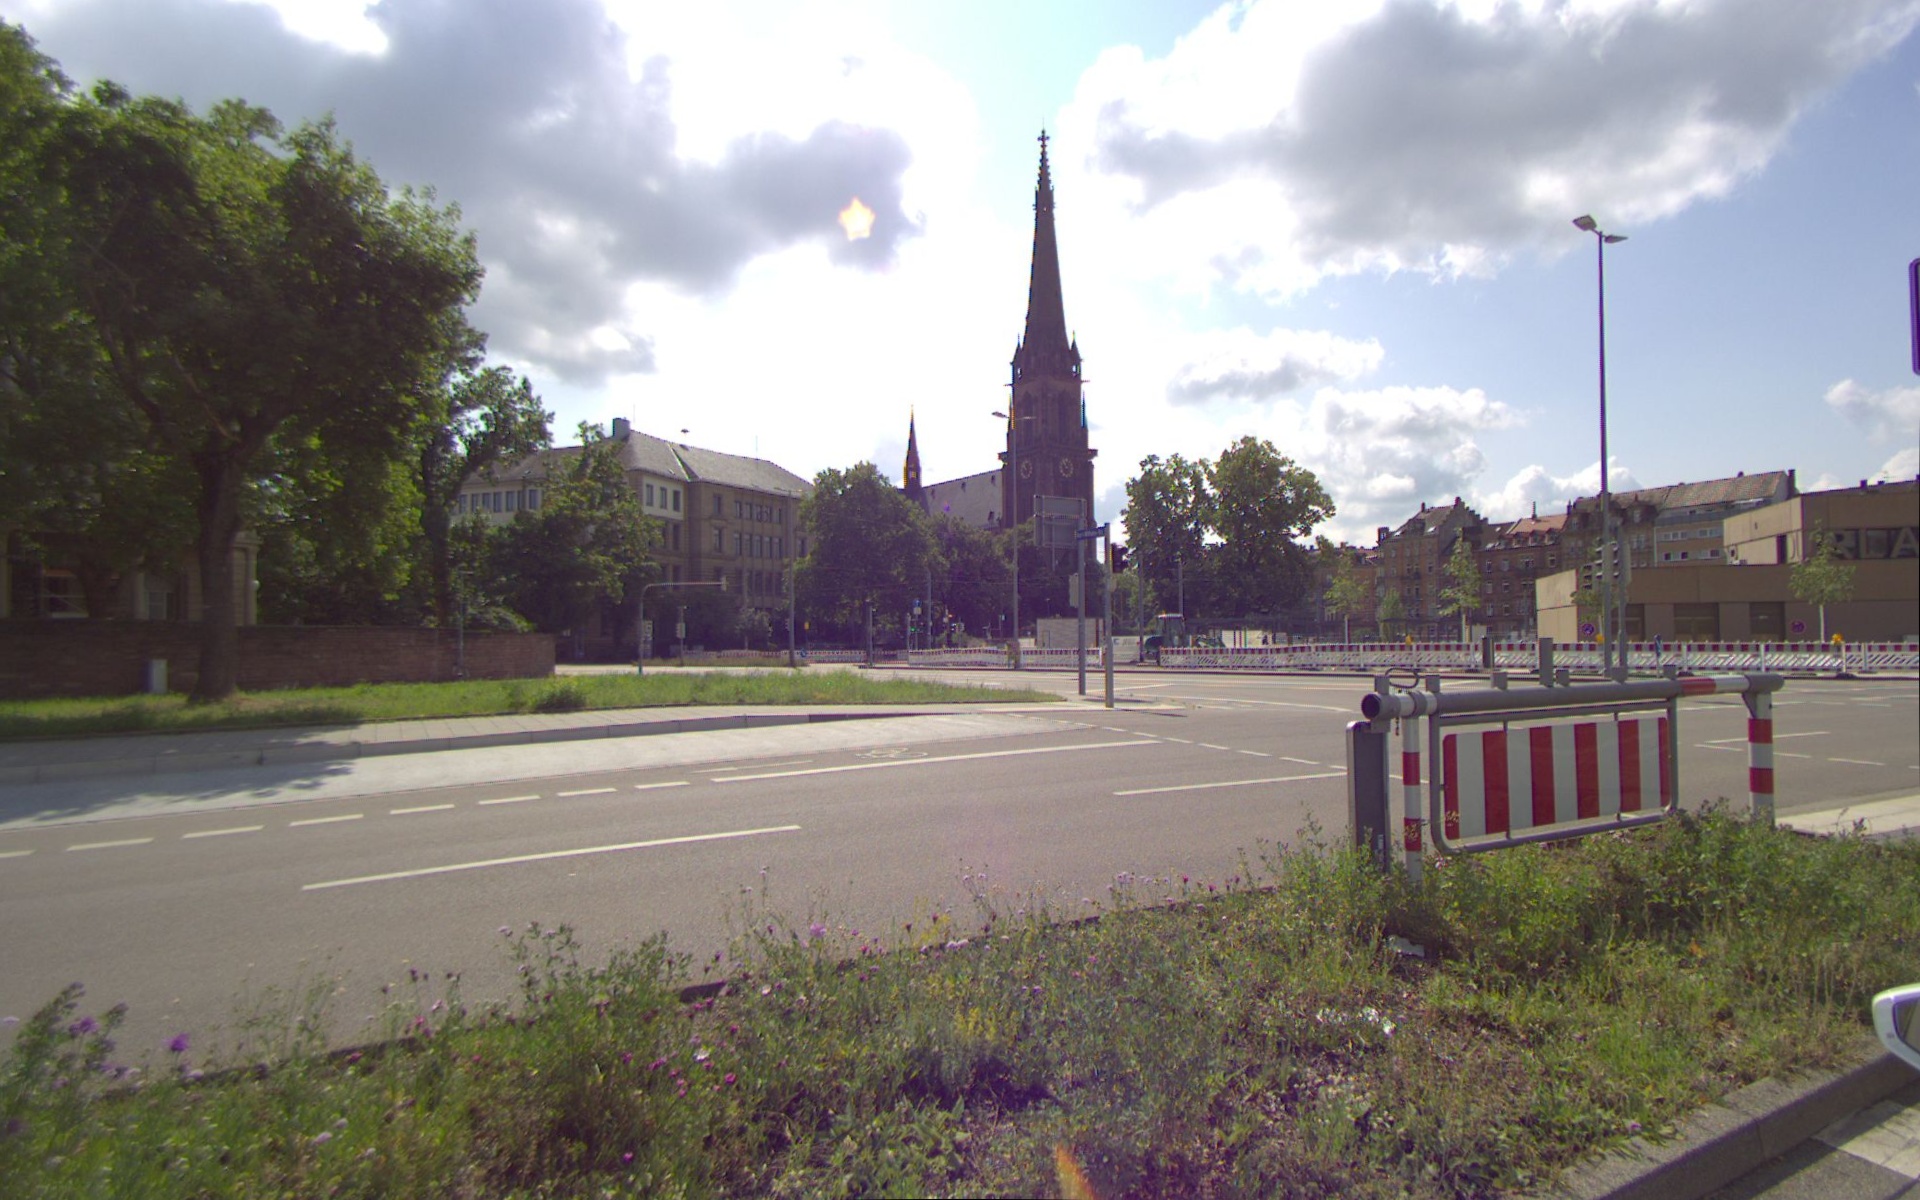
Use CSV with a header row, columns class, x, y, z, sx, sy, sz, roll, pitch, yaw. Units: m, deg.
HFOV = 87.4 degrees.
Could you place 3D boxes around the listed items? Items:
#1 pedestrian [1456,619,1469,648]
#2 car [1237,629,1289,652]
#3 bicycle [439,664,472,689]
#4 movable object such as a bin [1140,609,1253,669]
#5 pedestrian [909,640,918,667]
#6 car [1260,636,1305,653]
class,x,y,z,sx,sy,sz,roll,pitch,yaw
pedestrian,34.838,2.330,69.636,0.689,2.040,0.556,-1,-2,20
car,25.789,3.432,85.462,4.098,1.906,1.803,-1,-2,20
bicycle,-21.029,3.178,41.858,0.386,1.005,1.524,-1,-2,10
movable object such as a bin,11.966,2.009,51.120,5.430,2.922,2.290,-1,-2,12
pedestrian,-3.223,3.705,69.803,0.492,1.874,0.526,1,-2,-25
car,34.601,4.804,107.861,4.293,1.817,1.781,-2,-3,29
